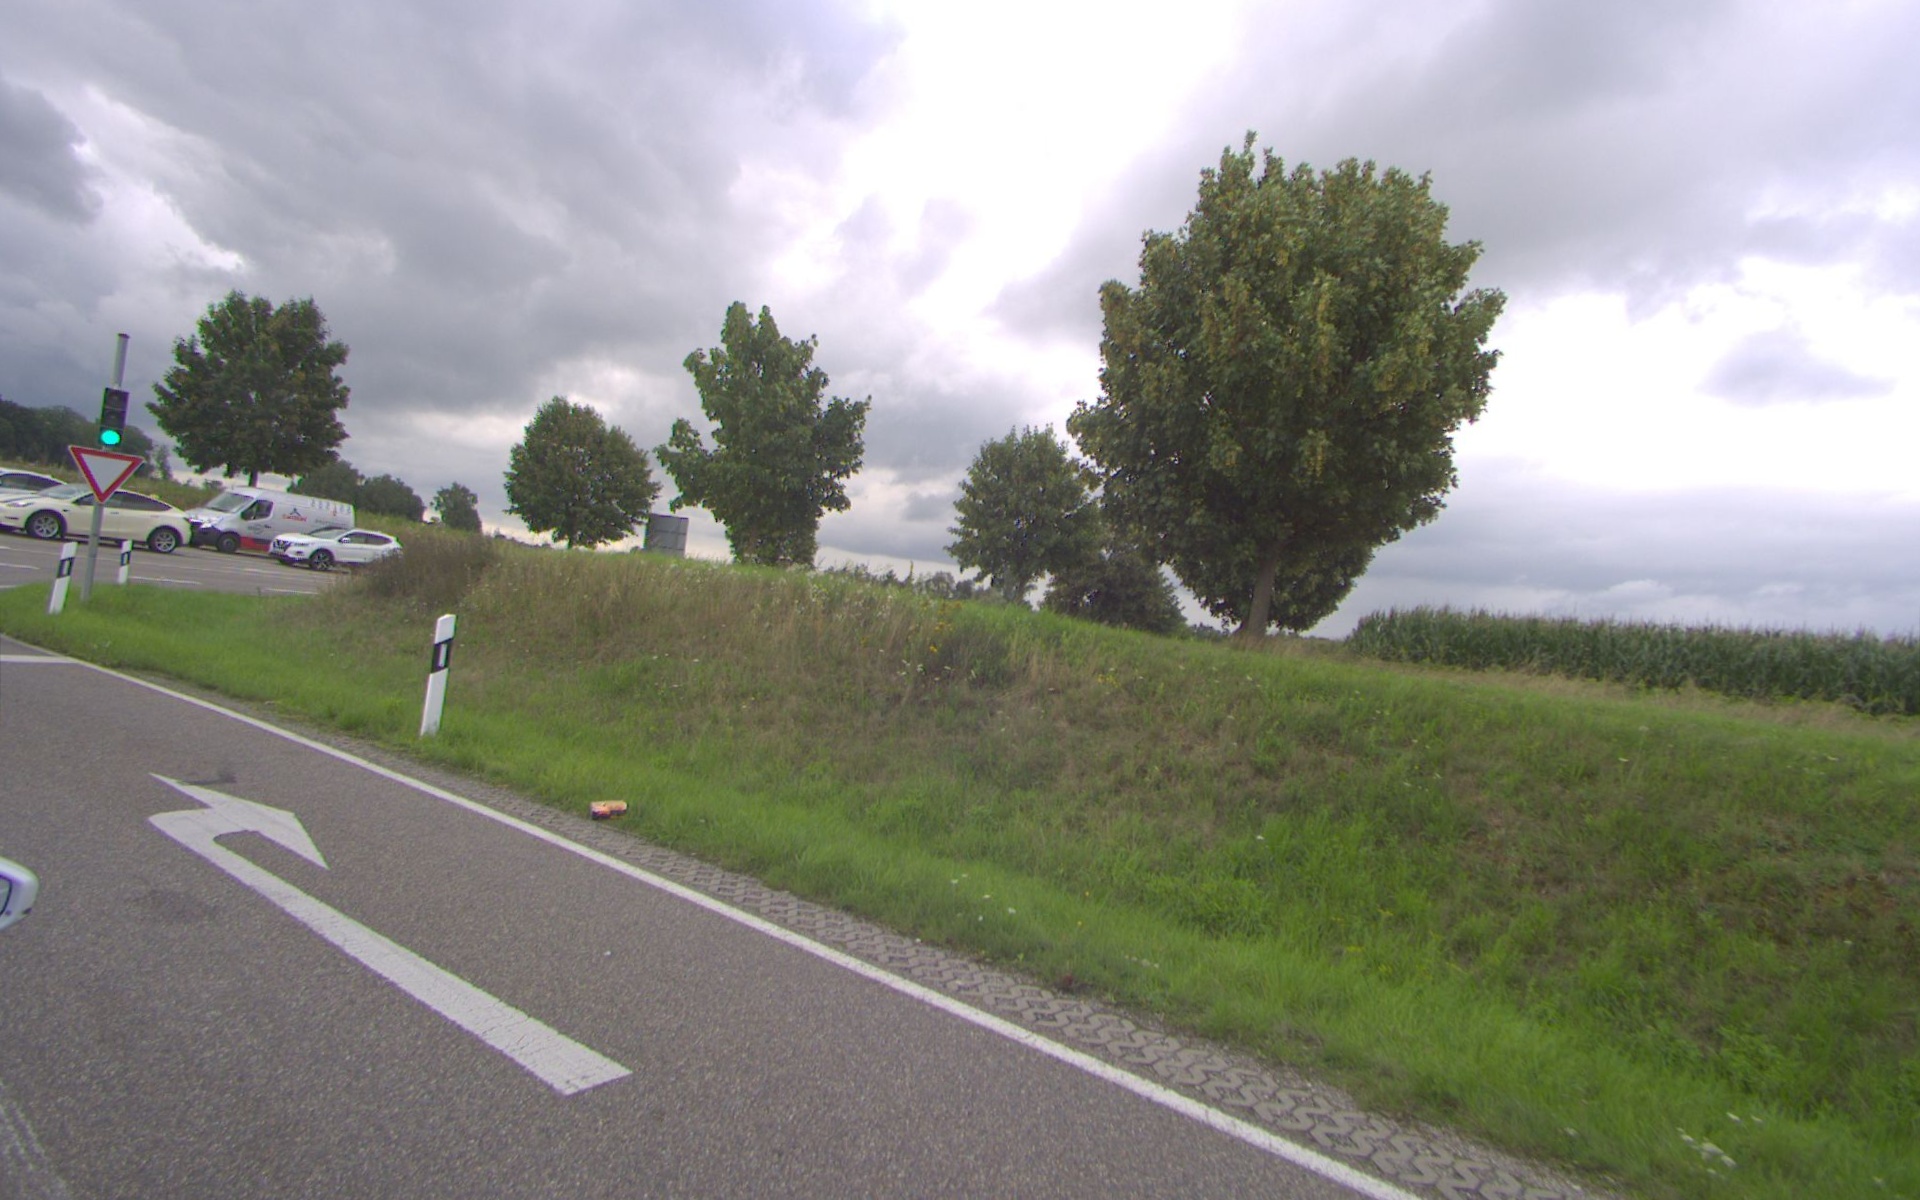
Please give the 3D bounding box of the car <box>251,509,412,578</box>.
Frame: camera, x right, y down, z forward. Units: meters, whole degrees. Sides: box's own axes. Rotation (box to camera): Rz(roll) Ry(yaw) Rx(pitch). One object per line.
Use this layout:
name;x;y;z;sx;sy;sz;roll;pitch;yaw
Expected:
car;-21.802;-1.921;35.103;1.963;1.648;4.326;8;-2;20

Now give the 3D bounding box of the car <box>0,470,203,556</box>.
car;-24.151;-2.391;27.801;1.963;1.582;4.752;8;-2;20

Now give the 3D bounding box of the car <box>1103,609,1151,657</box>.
car;8.419;1.684;50.347;1.962;2.037;4.005;7;-2;12

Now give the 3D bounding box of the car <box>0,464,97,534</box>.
car;-27.837;-3.097;28.754;1.963;1.647;4.278;8;-2;19

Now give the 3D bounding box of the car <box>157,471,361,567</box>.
car;-25.361;-2.849;36.708;2.354;2.470;5.517;8;-2;20
